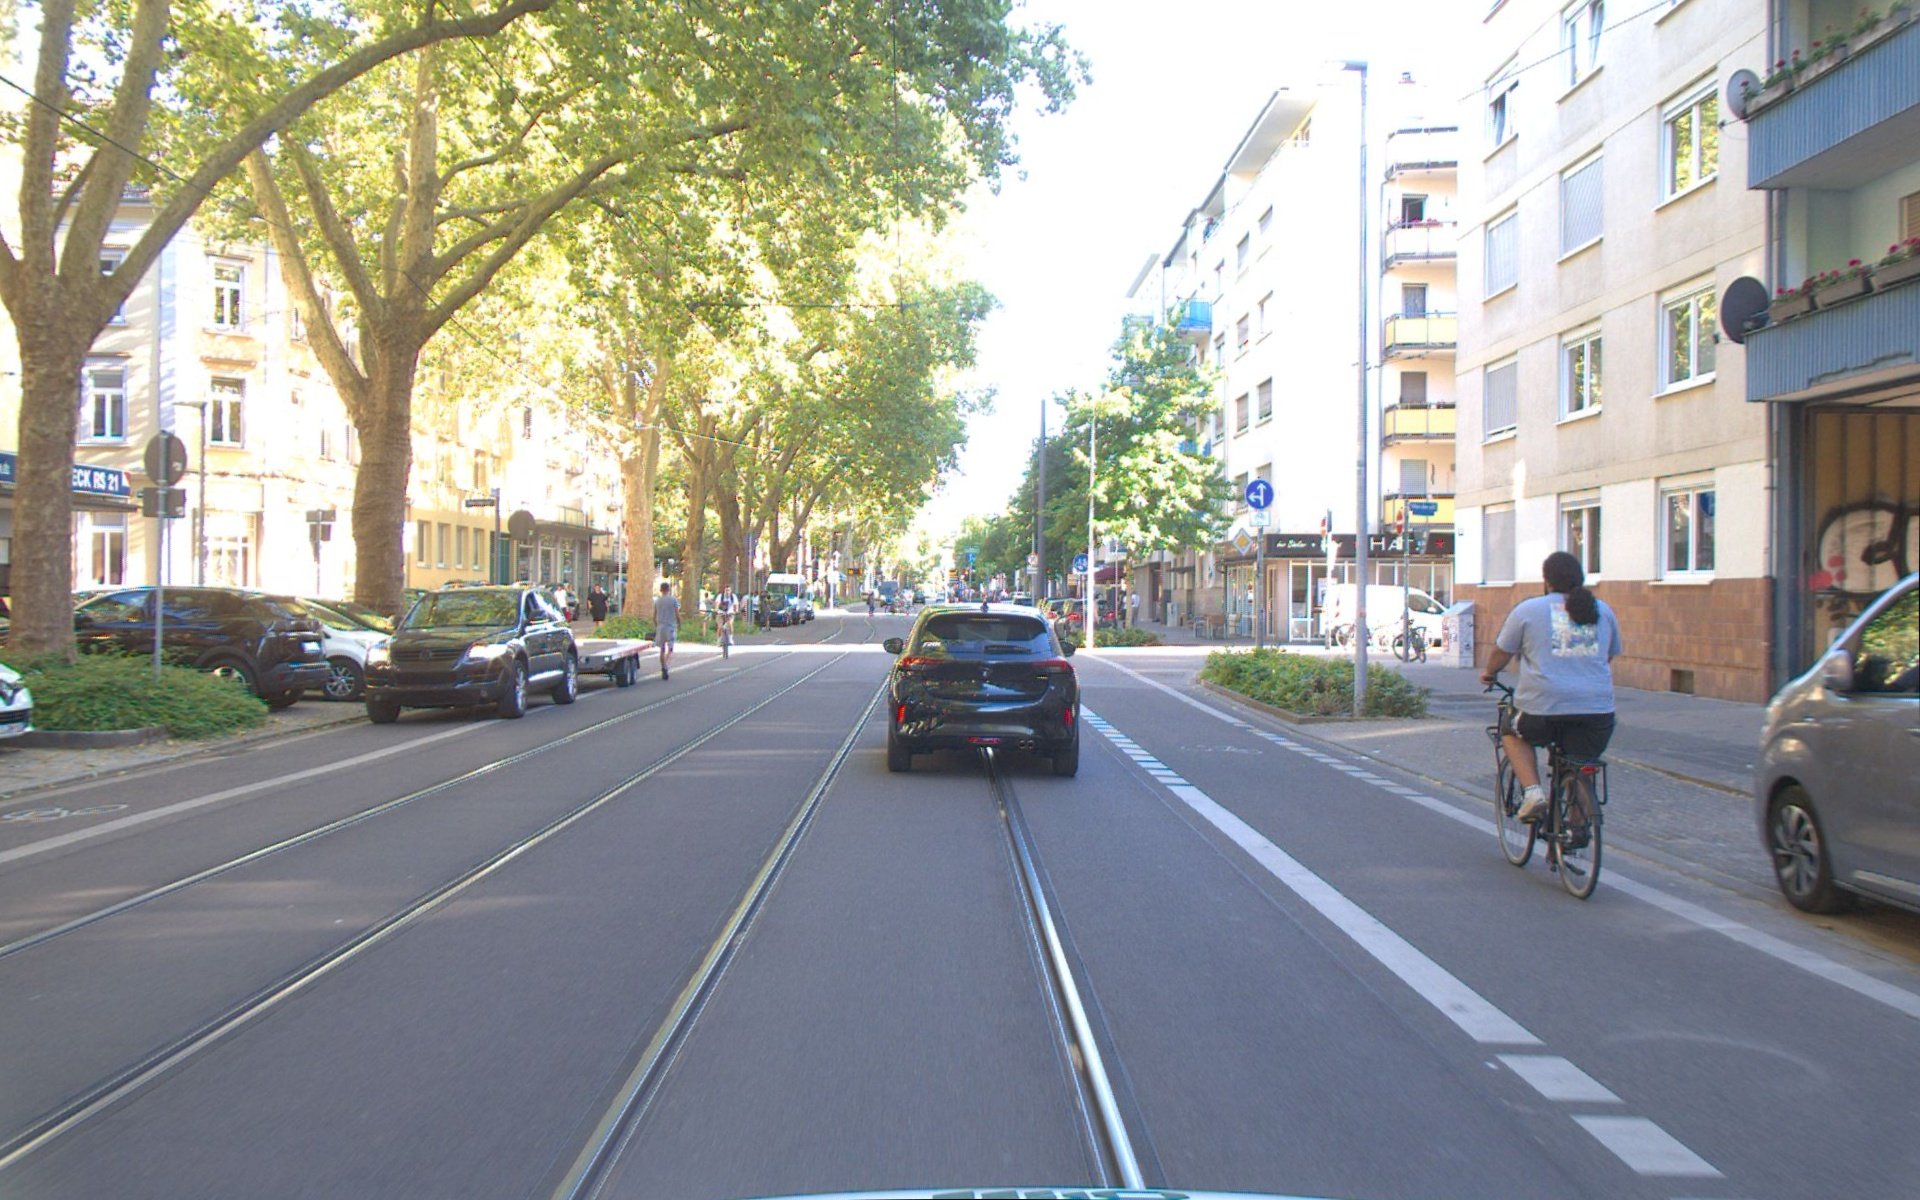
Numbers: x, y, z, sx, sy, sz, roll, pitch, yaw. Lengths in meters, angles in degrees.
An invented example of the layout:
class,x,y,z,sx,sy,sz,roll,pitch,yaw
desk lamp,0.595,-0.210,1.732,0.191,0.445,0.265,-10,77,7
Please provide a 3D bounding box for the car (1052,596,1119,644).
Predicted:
class,x,y,z,sx,sy,sz,roll,pitch,yaw
car,4.233,0.655,56.464,1.684,1.601,4.081,0,0,-5

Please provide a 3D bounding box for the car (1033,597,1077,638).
class,x,y,z,sx,sy,sz,roll,pitch,yaw
car,3.776,0.681,66.168,1.617,1.601,3.084,0,0,1

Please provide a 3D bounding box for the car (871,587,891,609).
class,x,y,z,sx,sy,sz,roll,pitch,yaw
car,-8.233,-0.203,171.988,1.954,2.250,5.097,0,0,-5

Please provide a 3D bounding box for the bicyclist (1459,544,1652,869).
class,x,y,z,sx,sy,sz,roll,pitch,yaw
bicyclist,3.425,0.589,9.580,0.770,1.790,0.914,0,0,-1

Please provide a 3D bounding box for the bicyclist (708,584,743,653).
class,x,y,z,sx,sy,sz,roll,pitch,yaw
bicyclist,-5.853,0.459,41.338,0.768,1.707,0.957,0,0,-2

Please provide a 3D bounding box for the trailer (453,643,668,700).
class,x,y,z,sx,sy,sz,roll,pitch,yaw
trailer,-6.477,1.148,27.693,2.117,0.643,6.399,0,0,-1

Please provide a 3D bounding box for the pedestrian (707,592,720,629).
class,x,y,z,sx,sy,sz,roll,pitch,yaw
pedestrian,-10.894,0.460,73.033,0.498,1.610,0.524,0,0,-16

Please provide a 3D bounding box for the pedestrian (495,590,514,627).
class,x,y,z,sx,sy,sz,roll,pitch,yaw
pedestrian,-17.680,0.314,64.239,0.540,1.427,0.649,0,0,3

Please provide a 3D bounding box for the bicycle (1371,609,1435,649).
class,x,y,z,sx,sy,sz,roll,pitch,yaw
bicycle,12.595,0.824,47.088,1.734,1.136,0.614,0,0,13

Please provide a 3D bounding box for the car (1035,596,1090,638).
class,x,y,z,sx,sy,sz,roll,pitch,yaw
car,3.827,0.618,62.267,1.683,1.516,3.680,0,0,-2

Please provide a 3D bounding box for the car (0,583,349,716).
class,x,y,z,sx,sy,sz,roll,pitch,yaw
car,-10.378,0.625,21.867,3.907,1.676,1.893,0,0,-2

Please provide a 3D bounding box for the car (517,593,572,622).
class,x,y,z,sx,sy,sz,roll,pitch,yaw
car,-19.393,0.330,77.325,1.660,1.298,3.827,0,1,-1

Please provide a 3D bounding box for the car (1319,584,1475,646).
class,x,y,z,sx,sy,sz,roll,pitch,yaw
car,13.515,0.451,51.254,4.273,1.863,1.998,0,0,-5

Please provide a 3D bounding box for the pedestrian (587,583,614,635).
class,x,y,z,sx,sy,sz,roll,pitch,yaw
pedestrian,-13.171,0.314,60.551,0.887,1.901,0.643,0,0,-7

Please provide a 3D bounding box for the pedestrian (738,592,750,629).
class,x,y,z,sx,sy,sz,roll,pitch,yaw
pedestrian,-9.472,0.471,72.537,0.497,1.610,0.526,0,0,-5

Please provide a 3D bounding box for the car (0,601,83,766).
class,x,y,z,sx,sy,sz,roll,pitch,yaw
car,-10.754,0.767,15.767,3.777,1.504,1.860,0,0,-2

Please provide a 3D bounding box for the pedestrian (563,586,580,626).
class,x,y,z,sx,sy,sz,roll,pitch,yaw
pedestrian,-16.719,0.257,71.193,0.540,1.681,0.649,0,0,3

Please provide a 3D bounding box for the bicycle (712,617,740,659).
class,x,y,z,sx,sy,sz,roll,pitch,yaw
bicycle,-5.839,0.933,41.332,0.510,0.979,1.928,0,0,-2

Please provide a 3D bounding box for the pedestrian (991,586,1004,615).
class,x,y,z,sx,sy,sz,roll,pitch,yaw
pedestrian,2.713,0.037,119.739,0.839,2.048,1.069,-4,-1,0

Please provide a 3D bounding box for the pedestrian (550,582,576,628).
class,x,y,z,sx,sy,sz,roll,pitch,yaw
pedestrian,-14.380,0.185,59.927,0.830,1.661,0.643,0,0,-7

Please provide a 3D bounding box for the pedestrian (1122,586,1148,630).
class,x,y,z,sx,sy,sz,roll,pitch,yaw
pedestrian,7.071,0.321,66.792,0.757,1.779,0.791,0,0,42

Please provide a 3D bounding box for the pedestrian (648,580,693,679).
class,x,y,z,sx,sy,sz,roll,pitch,yaw
pedestrian,-5.318,0.524,30.375,0.699,1.765,0.909,-1,0,-15

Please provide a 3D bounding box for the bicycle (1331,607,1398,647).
class,x,y,z,sx,sy,sz,roll,pitch,yaw
bicycle,11.781,0.781,48.158,1.797,1.136,0.703,0,0,2

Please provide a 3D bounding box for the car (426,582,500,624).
class,x,y,z,sx,sy,sz,roll,pitch,yaw
car,-19.392,0.116,64.723,1.647,1.543,4.000,1,0,0

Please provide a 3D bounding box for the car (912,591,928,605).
class,x,y,z,sx,sy,sz,roll,pitch,yaw
car,-4.814,-0.223,199.829,1.714,1.680,4.000,0,0,1

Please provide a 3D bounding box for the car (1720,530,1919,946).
class,x,y,z,sx,sy,sz,roll,pitch,yaw
car,5.350,0.643,7.275,1.820,1.923,4.925,0,0,1

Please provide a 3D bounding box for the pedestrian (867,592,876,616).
class,x,y,z,sx,sy,sz,roll,pitch,yaw
pedestrian,-5.963,0.290,111.661,0.583,1.618,0.892,0,0,-8

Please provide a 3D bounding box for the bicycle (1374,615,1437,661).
class,x,y,z,sx,sy,sz,roll,pitch,yaw
bicycle,10.604,0.896,39.415,0.787,1.033,1.966,0,0,-6

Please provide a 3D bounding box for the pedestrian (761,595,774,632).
class,x,y,z,sx,sy,sz,roll,pitch,yaw
pedestrian,-8.478,0.606,72.911,0.496,1.610,0.526,0,0,-1

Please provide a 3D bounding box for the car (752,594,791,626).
class,x,y,z,sx,sy,sz,roll,pitch,yaw
car,-9.374,0.482,82.448,1.719,1.534,3.997,0,0,-4

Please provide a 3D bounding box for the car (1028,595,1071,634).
class,x,y,z,sx,sy,sz,roll,pitch,yaw
car,3.765,0.603,70.018,1.682,1.601,3.682,0,0,1

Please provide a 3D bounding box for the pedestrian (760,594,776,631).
class,x,y,z,sx,sy,sz,roll,pitch,yaw
pedestrian,-8.549,0.547,73.572,0.670,1.610,0.557,0,0,-3

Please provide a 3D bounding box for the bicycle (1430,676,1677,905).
class,x,y,z,sx,sy,sz,roll,pitch,yaw
bicycle,3.435,1.059,9.777,0.687,1.111,1.989,2,0,-1

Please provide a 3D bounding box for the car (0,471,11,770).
class,x,y,z,sx,sy,sz,roll,pitch,yaw
car,-10.751,0.178,13.405,4.846,2.612,2.081,0,0,-4

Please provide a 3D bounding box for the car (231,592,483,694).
class,x,y,z,sx,sy,sz,roll,pitch,yaw
car,-9.503,0.652,26.276,3.363,1.557,1.786,0,0,-4

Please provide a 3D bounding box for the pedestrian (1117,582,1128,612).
class,x,y,z,sx,sy,sz,roll,pitch,yaw
pedestrian,9.584,-0.157,97.404,0.616,1.763,0.632,0,0,5

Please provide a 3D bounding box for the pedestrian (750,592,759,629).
class,x,y,z,sx,sy,sz,roll,pitch,yaw
pedestrian,-9.030,0.458,72.810,0.339,1.610,0.508,0,0,-2

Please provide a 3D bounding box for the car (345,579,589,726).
class,x,y,z,sx,sy,sz,roll,pitch,yaw
car,-6.475,0.628,22.271,1.953,1.730,4.484,-1,0,-1

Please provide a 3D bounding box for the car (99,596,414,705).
class,x,y,z,sx,sy,sz,roll,pitch,yaw
car,-10.351,0.723,24.544,3.907,1.548,1.770,0,0,-2

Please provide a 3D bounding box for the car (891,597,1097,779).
class,x,y,z,sx,sy,sz,roll,pitch,yaw
car,0.247,0.726,15.395,1.646,1.447,3.627,2,0,-1

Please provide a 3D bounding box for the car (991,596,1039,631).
class,x,y,z,sx,sy,sz,roll,pitch,yaw
car,2.642,0.619,80.978,1.954,1.668,3.997,0,0,-4

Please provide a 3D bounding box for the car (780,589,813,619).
class,x,y,z,sx,sy,sz,roll,pitch,yaw
car,-9.843,0.214,99.339,1.955,1.747,3.995,0,0,-6

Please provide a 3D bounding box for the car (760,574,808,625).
class,x,y,z,sx,sy,sz,roll,pitch,yaw
car,-9.413,-0.035,88.906,2.050,2.629,5.995,0,0,-1
